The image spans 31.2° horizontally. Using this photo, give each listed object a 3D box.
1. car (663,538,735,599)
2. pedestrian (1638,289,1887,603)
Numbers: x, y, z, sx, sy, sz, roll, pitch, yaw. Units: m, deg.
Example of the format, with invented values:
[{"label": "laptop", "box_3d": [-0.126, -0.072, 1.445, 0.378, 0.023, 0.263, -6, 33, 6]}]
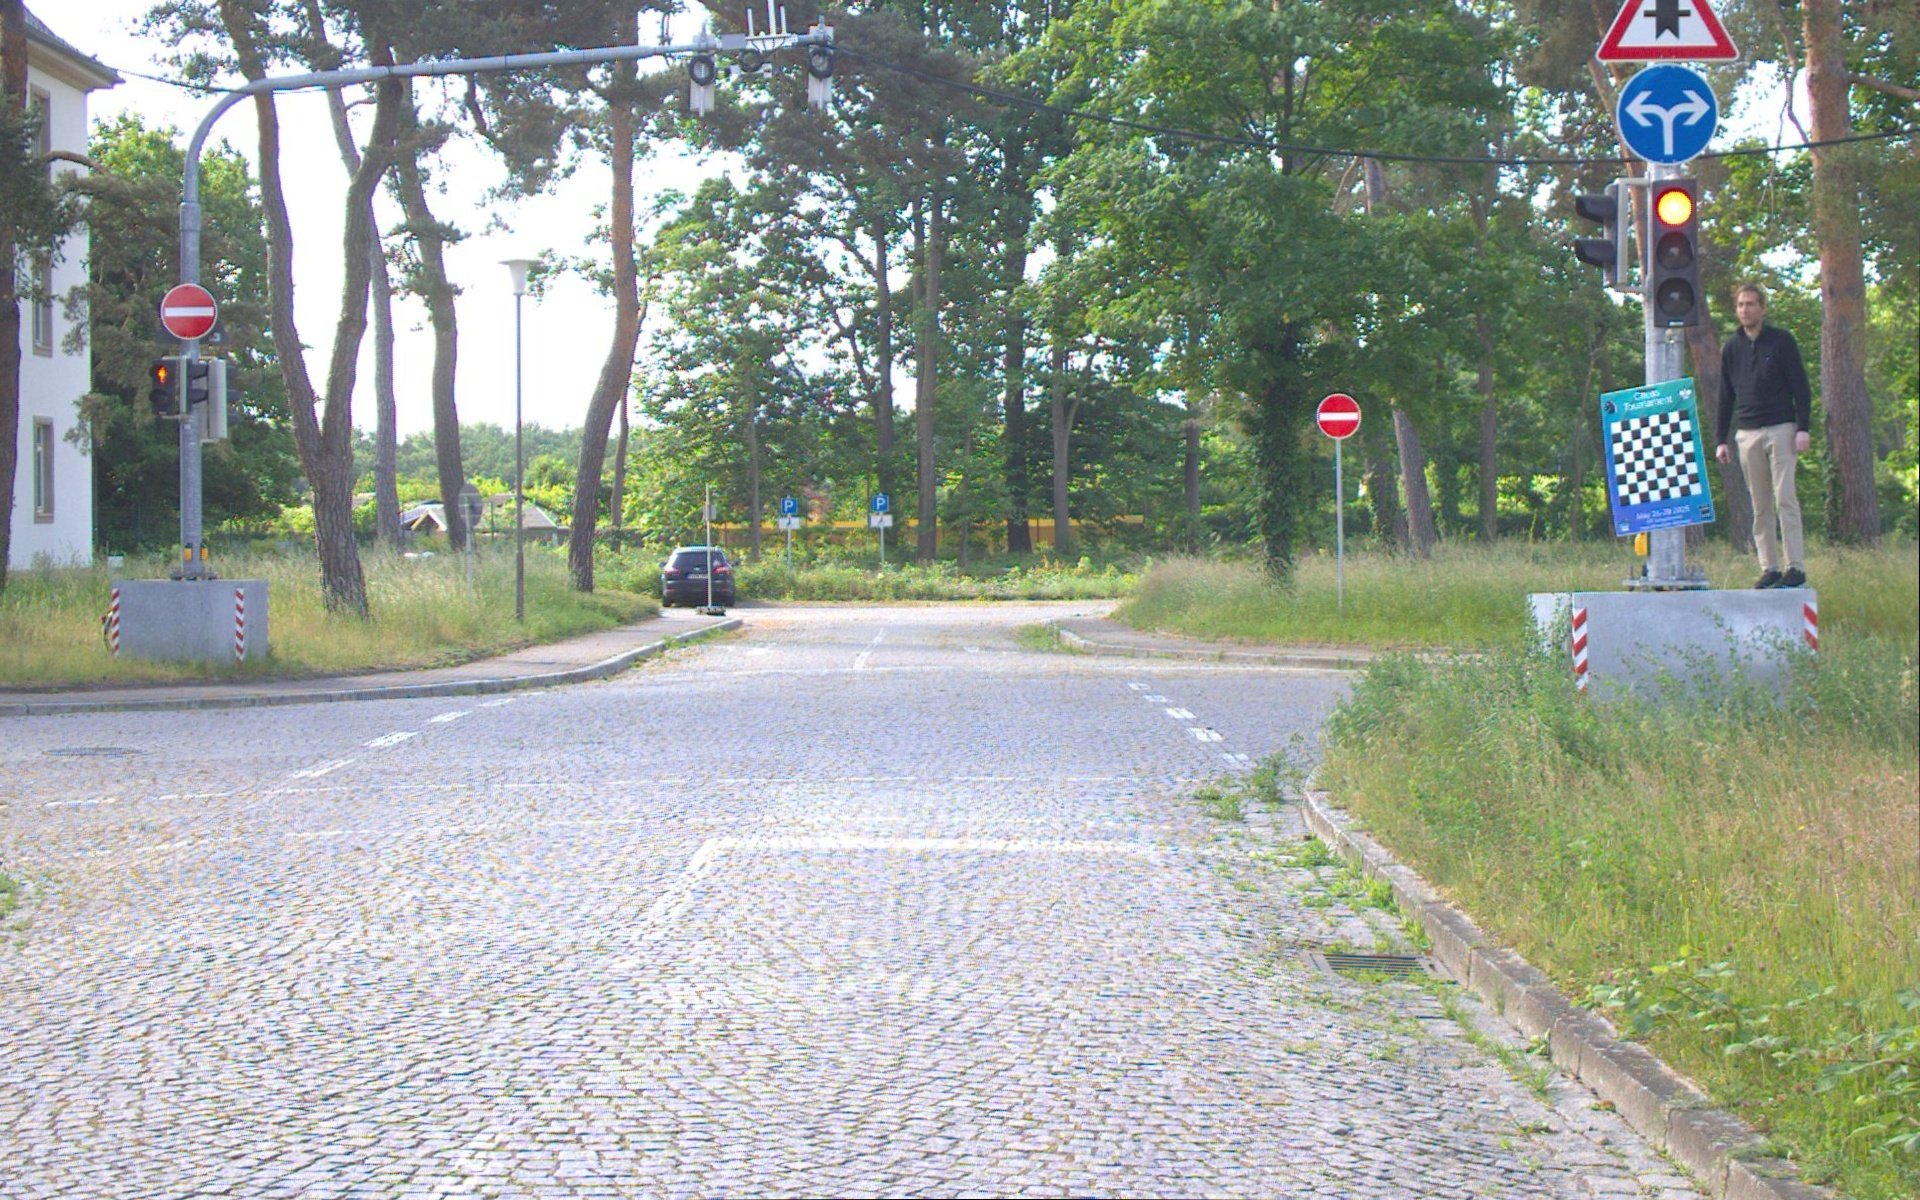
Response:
[{"label": "car", "box_3d": [-6.681, -0.823, 88.149, 1.709, 1.491, 3.919, -1, 1, -3]}, {"label": "pedestrian", "box_3d": [4.775, -0.896, 20.422, 1.170, 1.790, 1.061, 0, 1, 29]}]
